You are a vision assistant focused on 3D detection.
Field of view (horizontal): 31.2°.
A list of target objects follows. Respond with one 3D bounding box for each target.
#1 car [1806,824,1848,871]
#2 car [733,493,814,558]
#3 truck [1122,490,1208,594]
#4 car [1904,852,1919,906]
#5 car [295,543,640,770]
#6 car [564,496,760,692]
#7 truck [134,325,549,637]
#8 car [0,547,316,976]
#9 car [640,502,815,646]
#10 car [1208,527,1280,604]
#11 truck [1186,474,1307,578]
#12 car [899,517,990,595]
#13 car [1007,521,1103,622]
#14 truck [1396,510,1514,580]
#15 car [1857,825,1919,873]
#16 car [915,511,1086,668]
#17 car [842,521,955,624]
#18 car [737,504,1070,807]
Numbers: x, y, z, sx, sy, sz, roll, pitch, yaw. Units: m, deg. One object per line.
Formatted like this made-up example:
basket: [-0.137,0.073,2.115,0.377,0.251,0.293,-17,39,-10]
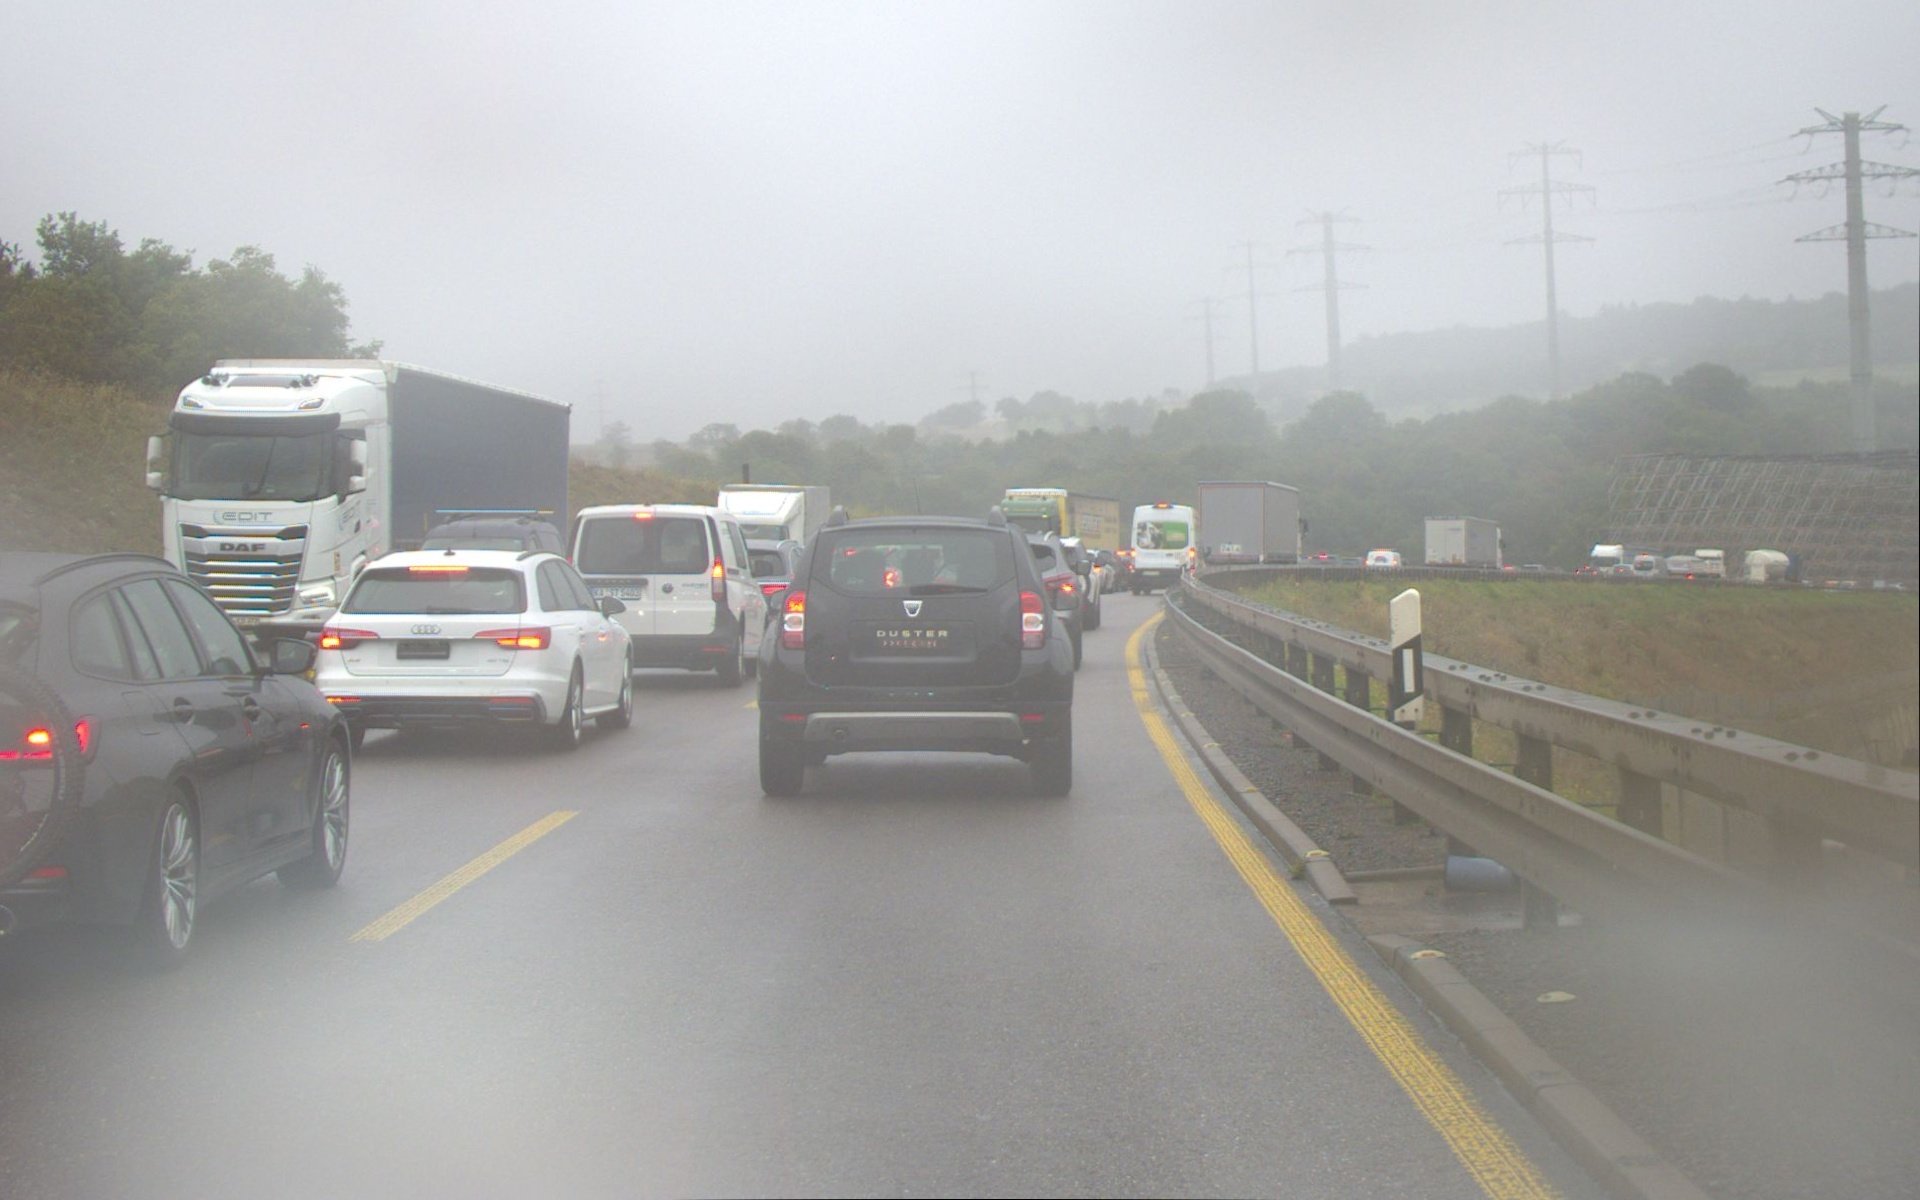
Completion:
car: [44.580,12.731,176.830,1.995,2.007,3.998,2,1,14]
car: [-5.073,-2.027,93.944,1.867,1.576,4.091,2,-1,1]
truck: [6.484,-1.828,108.206,2.150,3.155,6.458,1,1,8]
car: [40.578,11.579,141.466,2.365,2.007,4.000,1,1,1]
car: [-3.490,0.336,25.167,1.867,1.455,4.549,1,1,0]
car: [-3.015,-0.099,35.478,1.660,1.873,4.020,1,1,0]
truck: [-9.095,-1.725,52.930,2.933,4.083,14.389,1,1,3]
car: [-3.810,0.530,13.744,1.828,1.471,3.777,0,1,-1]
car: [-2.906,-0.355,43.746,1.867,1.702,4.092,1,1,1]
car: [7.332,-0.918,89.125,1.775,1.909,4.000,1,1,4]
truck: [10.942,-2.797,130.646,3.202,3.748,8.504,2,1,14]
car: [-0.327,-1.015,78.608,1.868,1.702,4.091,1,1,3]
car: [1.601,-0.507,58.416,1.530,1.635,4.013,1,1,1]
truck: [31.156,-3.462,215.604,4.721,4.135,15.669,2,1,17]
car: [42.859,11.479,158.686,1.994,1.809,4.000,1,1,3]
car: [0.441,-0.159,40.102,1.867,1.702,4.001,1,1,0]
car: [-1.042,-0.477,59.715,1.867,1.703,4.092,-1,0,0]
car: [-0.272,0.266,20.541,1.804,1.640,3.776,0,1,1]
